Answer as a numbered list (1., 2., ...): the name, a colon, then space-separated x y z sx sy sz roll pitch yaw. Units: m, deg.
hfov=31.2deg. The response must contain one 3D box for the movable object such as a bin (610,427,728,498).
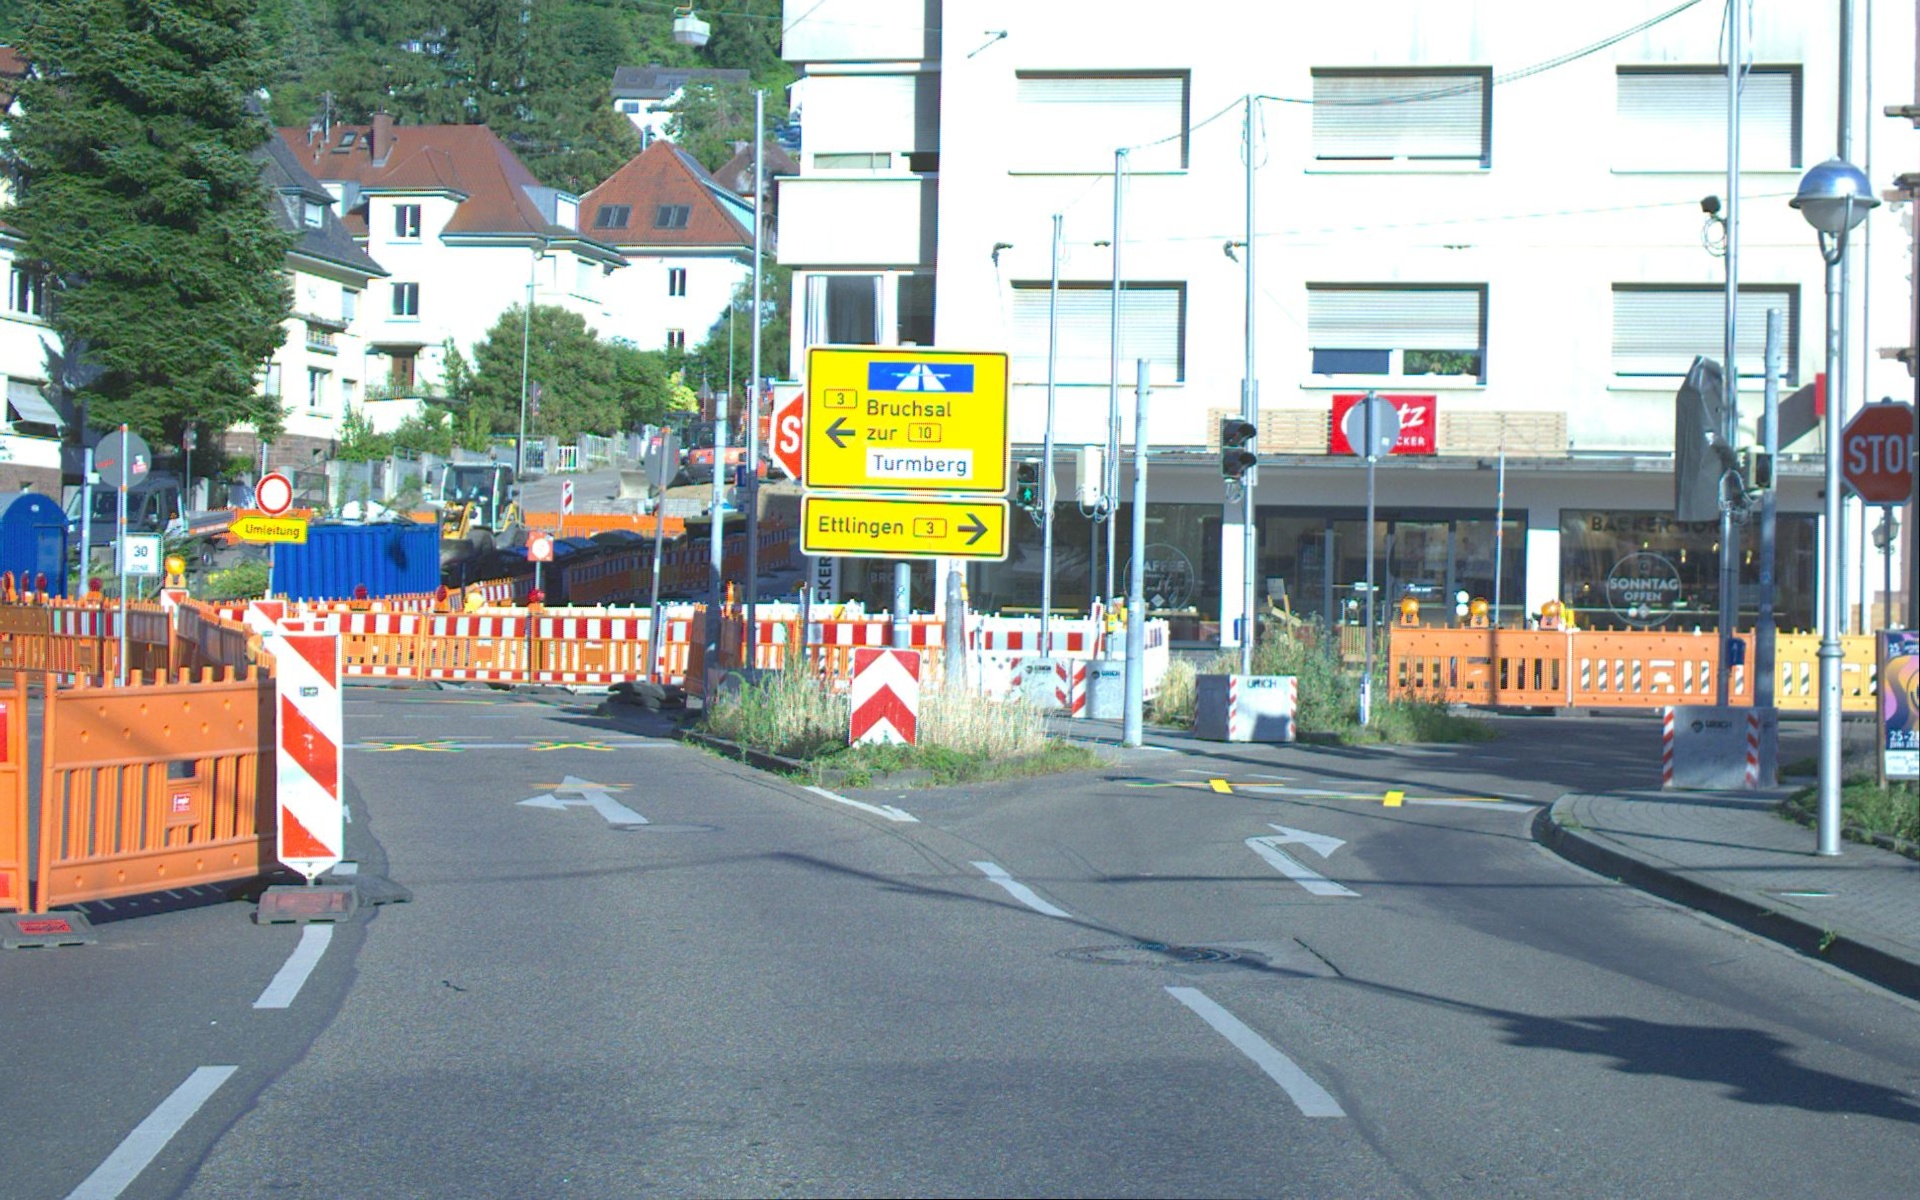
1. movable object such as a bin: -9.623 -4.536 114.209 2.566 2.114 5.782 1 0 9

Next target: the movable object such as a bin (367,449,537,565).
1. movable object such as a bin: -11.525 -2.082 78.316 1.950 2.486 4.547 1 0 19

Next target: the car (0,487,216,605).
1. car: -16.949 -0.982 65.611 2.586 2.113 6.145 1 0 19
